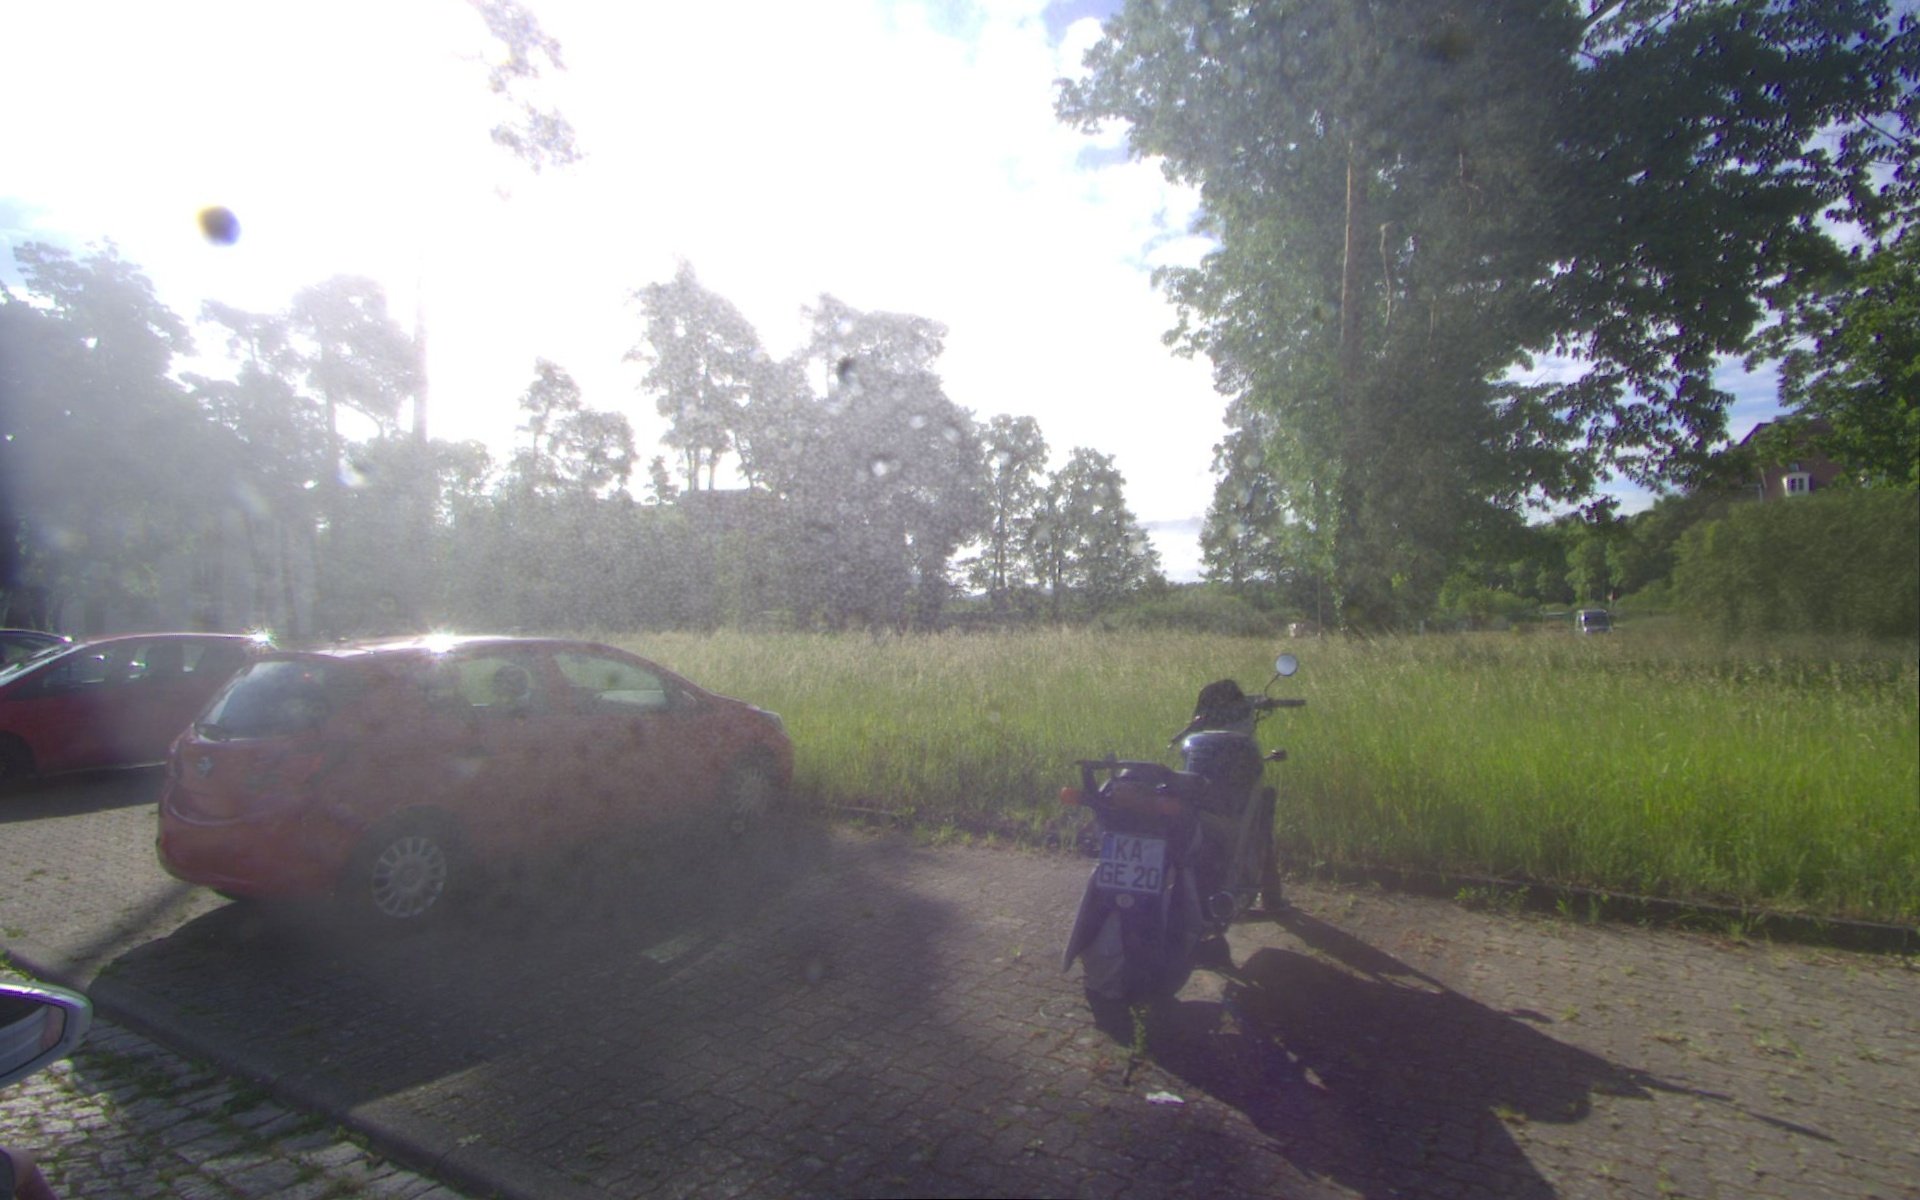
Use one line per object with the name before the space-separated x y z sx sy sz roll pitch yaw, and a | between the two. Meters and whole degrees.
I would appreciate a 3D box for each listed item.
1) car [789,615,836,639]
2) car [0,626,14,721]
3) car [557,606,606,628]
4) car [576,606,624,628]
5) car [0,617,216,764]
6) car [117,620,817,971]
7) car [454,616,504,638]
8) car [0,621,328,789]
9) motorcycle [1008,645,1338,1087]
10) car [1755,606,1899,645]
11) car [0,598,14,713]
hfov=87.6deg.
car | -12.778 2.311 86.737 1.971 2.040 3.980 -1 -1 31
car | -16.889 1.181 14.943 1.620 1.508 3.715 -1 0 29
car | -35.930 1.616 95.099 1.971 2.040 3.980 -1 -1 31
car | -33.738 1.630 93.927 1.971 2.040 3.980 -1 -1 31
car | -11.414 1.031 11.773 1.745 1.642 3.931 -1 -1 30
car | -2.779 0.910 6.510 1.621 1.498 3.820 -1 0 31
car | -46.344 2.614 96.558 1.971 2.040 3.980 -1 -1 31
car | -9.074 1.003 10.572 1.621 1.550 3.758 -1 -1 30
motorcycle | 1.073 0.916 4.419 0.715 1.337 2.295 0 0 31
car | 50.731 1.535 58.734 2.346 2.199 5.975 0 -2 -36
car | -19.043 0.969 16.482 2.052 2.040 4.673 0 -1 28
